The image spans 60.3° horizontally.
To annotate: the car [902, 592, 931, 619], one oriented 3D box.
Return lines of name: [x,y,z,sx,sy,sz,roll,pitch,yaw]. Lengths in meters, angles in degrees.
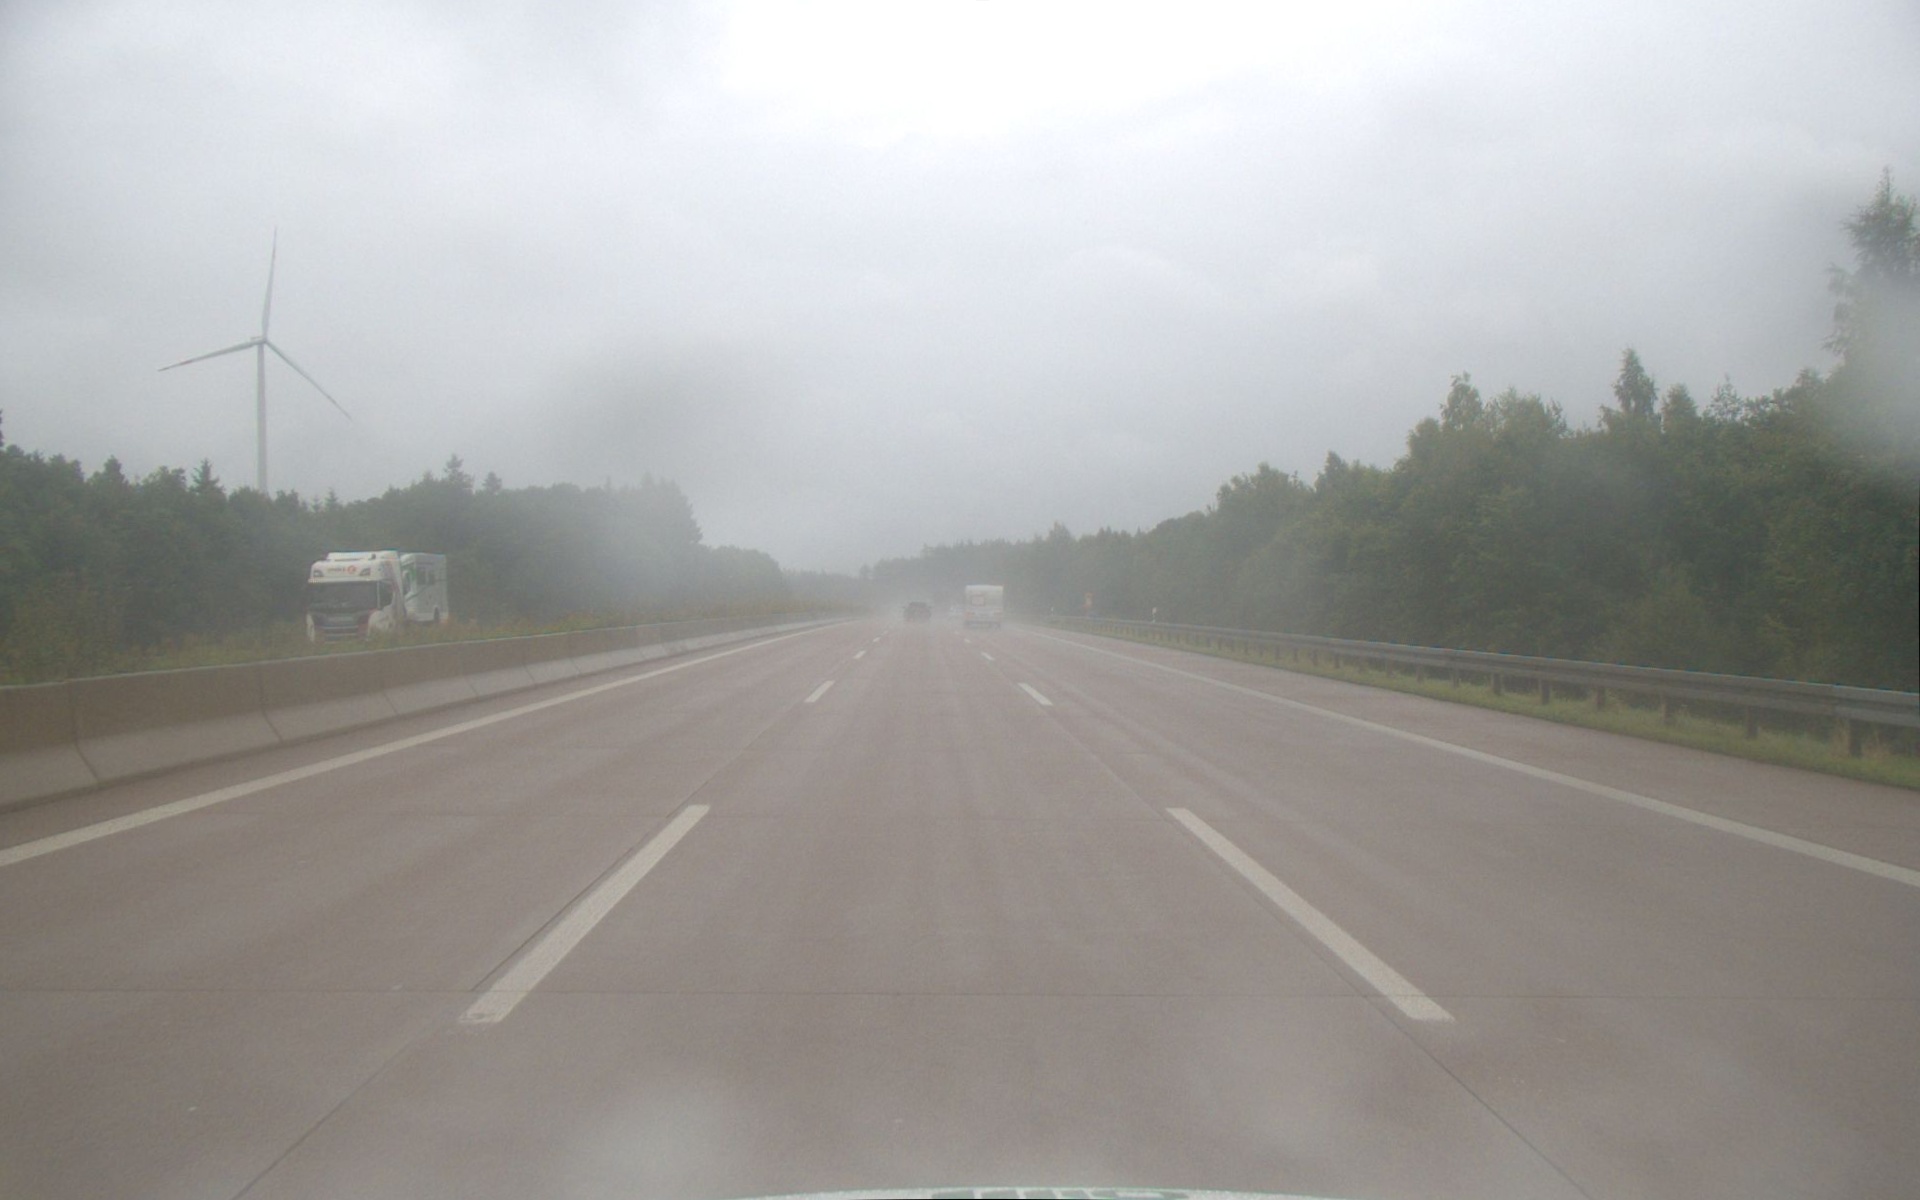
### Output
car: [-2.963,0.370,113.791,1.897,1.760,4.129,0,0,0]

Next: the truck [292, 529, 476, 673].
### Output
truck: [-19.895,0.025,57.908,3.081,4.550,9.556,2,0,-1]

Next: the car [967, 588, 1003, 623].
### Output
car: [1.468,0.310,99.050,2.016,2.035,4.098,0,0,-1]
